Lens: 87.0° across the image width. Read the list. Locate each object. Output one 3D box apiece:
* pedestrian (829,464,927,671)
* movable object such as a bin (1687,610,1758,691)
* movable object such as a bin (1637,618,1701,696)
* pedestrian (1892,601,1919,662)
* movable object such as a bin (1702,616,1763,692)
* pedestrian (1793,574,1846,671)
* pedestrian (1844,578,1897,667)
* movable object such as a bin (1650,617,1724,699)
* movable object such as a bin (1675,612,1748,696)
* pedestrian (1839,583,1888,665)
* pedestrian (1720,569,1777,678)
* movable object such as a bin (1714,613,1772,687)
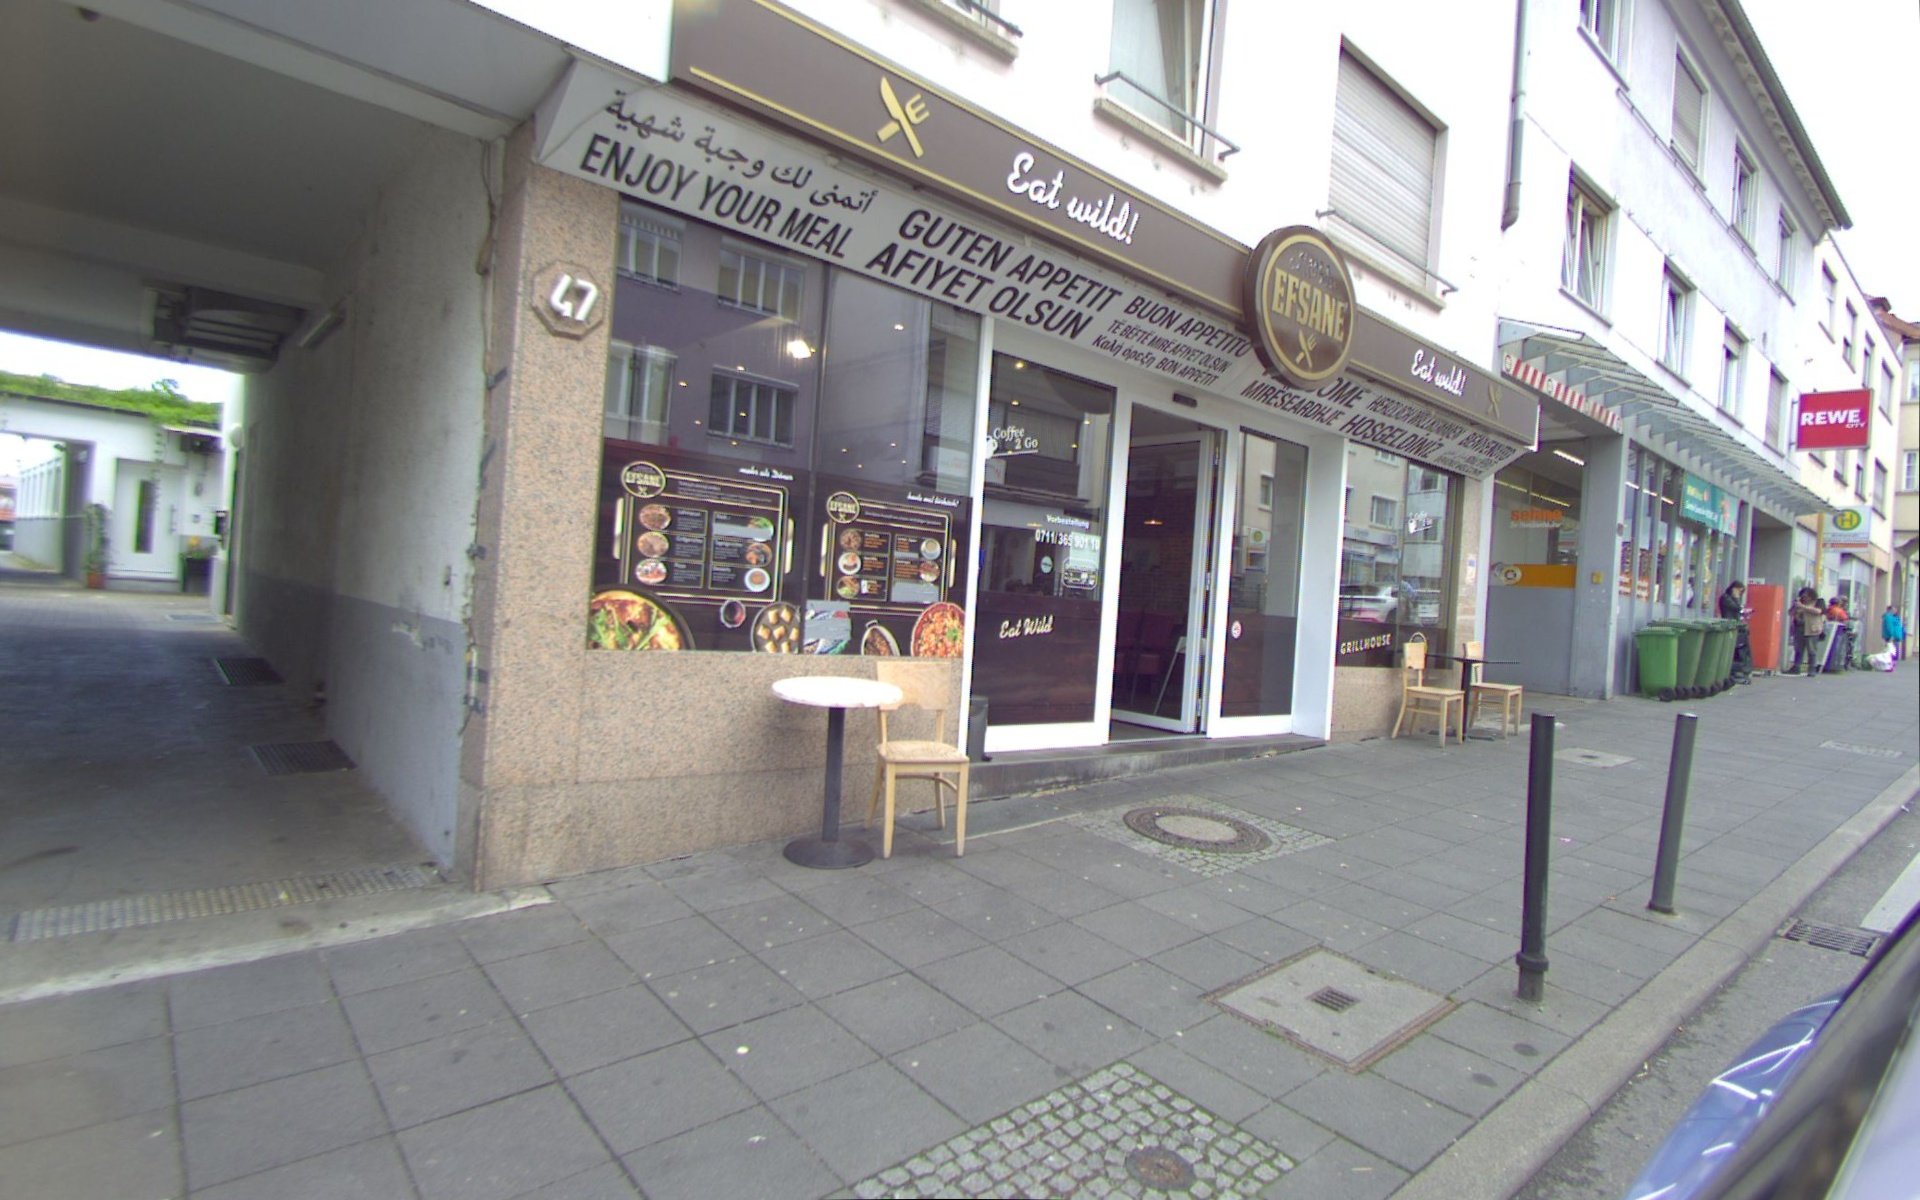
[{"bbox_3d":[-0.721,-0.285,8.986,0.621,1.747,0.601,1,0,26],"label":"pedestrian"},{"bbox_3d":[10.976,0.712,14.568,0.648,1.094,0.652,1,2,-41],"label":"movable object such as a bin"},{"bbox_3d":[9.396,0.743,13.415,0.489,0.968,0.568,1,2,-41],"label":"movable object such as a bin"},{"bbox_3d":[26.253,0.858,28.050,0.625,1.650,0.597,0,0,44],"label":"pedestrian"},{"bbox_3d":[11.444,0.785,14.994,0.564,1.072,0.569,1,2,-41],"label":"movable object such as a bin"},{"bbox_3d":[16.203,0.409,19.080,0.626,1.746,0.597,5,4,44],"label":"pedestrian"},{"bbox_3d":[19.186,0.470,21.333,0.618,1.845,0.604,0,0,15],"label":"pedestrian"},{"bbox_3d":[9.871,0.773,13.748,0.550,1.043,0.670,1,2,-41],"label":"movable object such as a bin"},{"bbox_3d":[10.461,0.736,14.090,0.661,1.094,0.652,1,2,-41],"label":"movable object such as a bin"},{"bbox_3d":[19.670,0.503,22.035,0.599,1.747,0.623,0,0,20],"label":"pedestrian"},{"bbox_3d":[12.936,0.380,16.623,0.621,1.747,0.601,0,0,26],"label":"pedestrian"},{"bbox_3d":[11.885,0.743,15.361,0.549,1.070,0.559,1,2,-41],"label":"movable object such as a bin"}]
